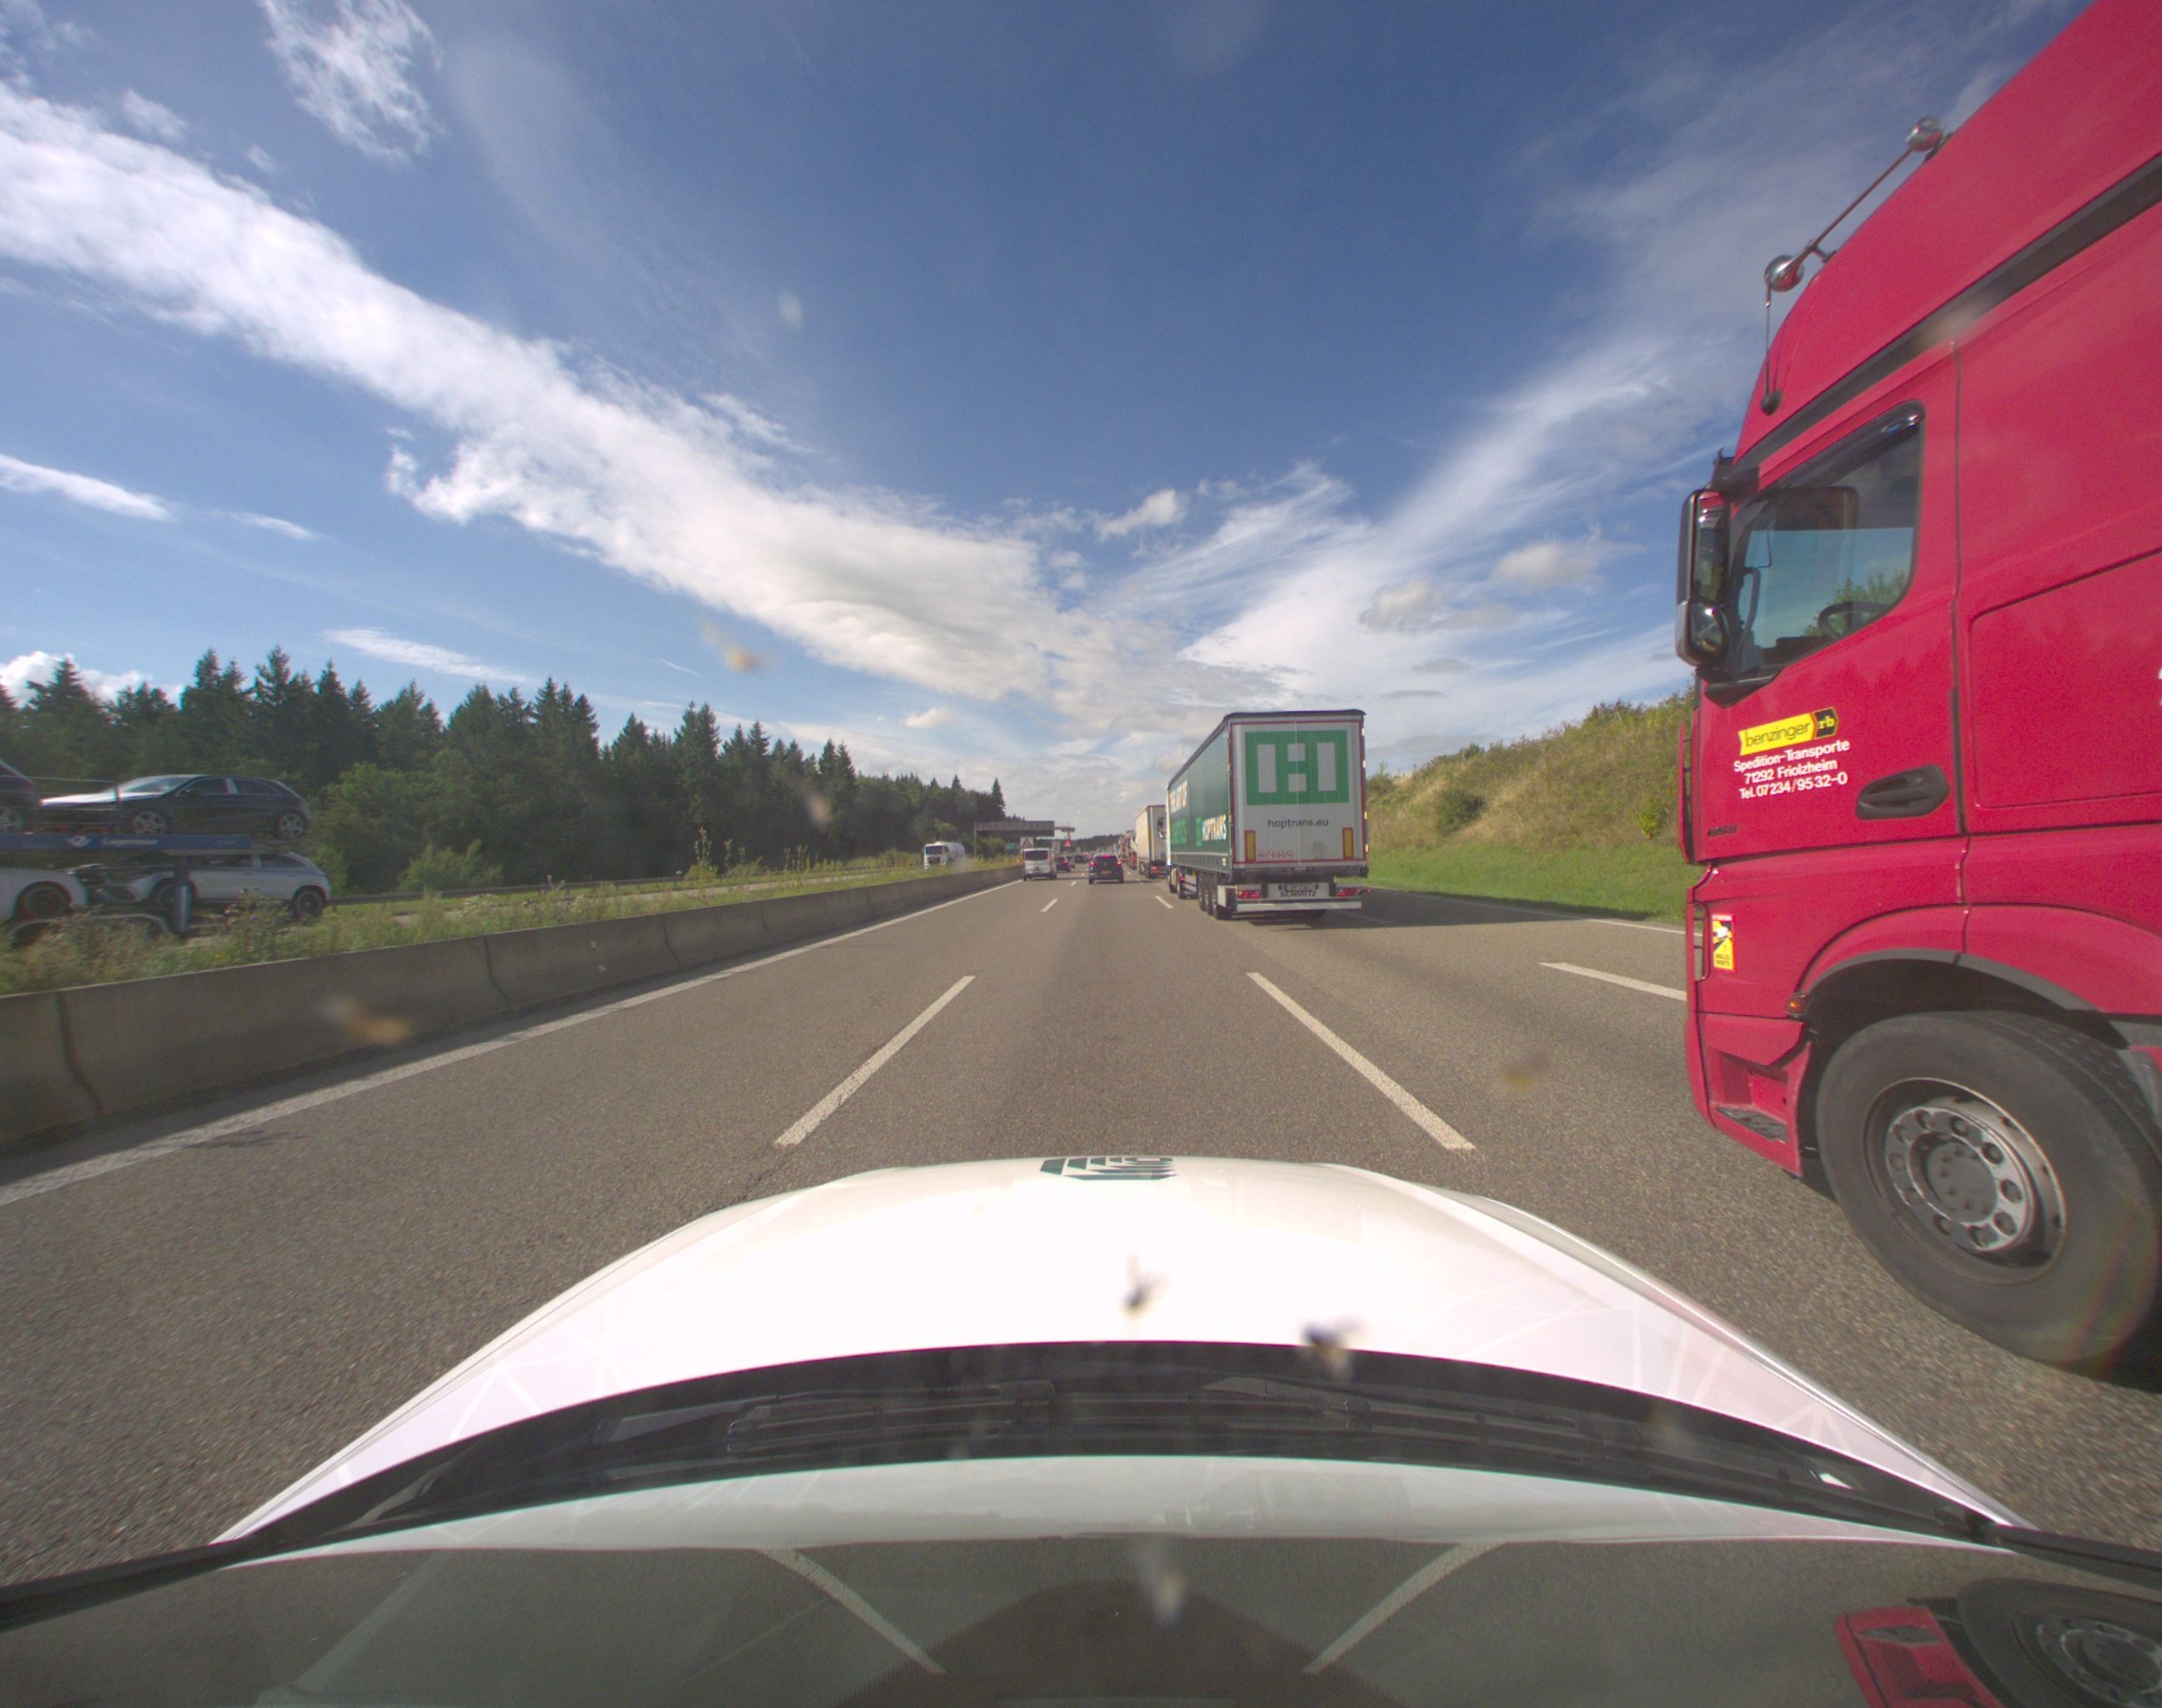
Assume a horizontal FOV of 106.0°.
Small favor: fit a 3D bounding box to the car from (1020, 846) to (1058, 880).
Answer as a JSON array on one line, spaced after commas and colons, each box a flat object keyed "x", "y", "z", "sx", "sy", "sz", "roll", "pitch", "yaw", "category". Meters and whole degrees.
[{"x": -2.575, "y": 0.553, "z": 51.516, "sx": 1.925, "sy": 1.979, "sz": 5.100, "roll": 2, "pitch": 0, "yaw": 2, "category": "car"}]

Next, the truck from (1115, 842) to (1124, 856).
[{"x": 8.154, "y": -1.012, "z": 172.691, "sx": 1.986, "sy": 2.932, "sz": 4.984, "roll": 2, "pitch": 0, "yaw": 2, "category": "truck"}]

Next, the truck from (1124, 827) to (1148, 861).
[{"x": 6.975, "y": -1.235, "z": 104.587, "sx": 2.774, "sy": 4.247, "sz": 6.464, "roll": -2, "pitch": 0, "yaw": 3, "category": "truck"}]

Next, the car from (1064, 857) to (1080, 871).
[{"x": -0.928, "y": 1.037, "z": 87.891, "sx": 1.494, "sy": 1.396, "sz": 3.477, "roll": 2, "pitch": 0, "yaw": 2, "category": "car"}]

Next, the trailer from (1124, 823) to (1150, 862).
[{"x": 6.658, "y": -1.286, "z": 98.061, "sx": 2.791, "sy": 4.244, "sz": 11.063, "roll": -2, "pitch": 0, "yaw": 3, "category": "trailer"}]

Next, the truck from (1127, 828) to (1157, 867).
[{"x": 5.964, "y": -0.629, "z": 80.217, "sx": 2.524, "sy": 3.584, "sz": 6.732, "roll": -2, "pitch": 0, "yaw": 2, "category": "truck"}]

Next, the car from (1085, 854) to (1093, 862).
[{"x": 1.388, "y": 0.699, "z": 142.732, "sx": 1.429, "sy": 1.310, "sz": 3.534, "roll": 2, "pitch": 0, "yaw": 1, "category": "car"}]

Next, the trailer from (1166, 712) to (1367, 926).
[{"x": 4.089, "y": -0.611, "z": 21.618, "sx": 2.651, "sy": 3.869, "sz": 13.400, "roll": -1, "pitch": 0, "yaw": 2, "category": "trailer"}]

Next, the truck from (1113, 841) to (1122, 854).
[{"x": 8.938, "y": -1.586, "z": 199.982, "sx": 1.986, "sy": 3.052, "sz": 4.984, "roll": 2, "pitch": 0, "yaw": 2, "category": "truck"}]

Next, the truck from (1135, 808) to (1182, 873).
[{"x": 5.188, "y": -0.849, "z": 55.753, "sx": 2.698, "sy": 4.059, "sz": 6.364, "roll": -2, "pitch": 0, "yaw": 2, "category": "truck"}]

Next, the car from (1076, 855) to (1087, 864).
[{"x": 0.090, "y": 0.886, "z": 124.398, "sx": 1.429, "sy": 1.310, "sz": 3.534, "roll": 2, "pitch": 0, "yaw": 1, "category": "car"}]

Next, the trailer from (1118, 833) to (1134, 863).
[{"x": 6.744, "y": -0.857, "z": 122.602, "sx": 2.141, "sy": 4.259, "sz": 8.445, "roll": -1, "pitch": 0, "yaw": 2, "category": "trailer"}]

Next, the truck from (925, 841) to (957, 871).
[{"x": -15.936, "y": 0.174, "z": 93.176, "sx": 2.308, "sy": 3.273, "sz": 6.109, "roll": -1, "pitch": 0, "yaw": 3, "category": "truck"}]

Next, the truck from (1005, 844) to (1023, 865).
[{"x": -14.292, "y": 0.059, "z": 175.152, "sx": 2.701, "sy": 4.244, "sz": 10.346, "roll": -2, "pitch": 0, "yaw": 1, "category": "truck"}]

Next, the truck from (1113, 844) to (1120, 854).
[{"x": 10.662, "y": -1.464, "z": 243.827, "sx": 1.986, "sy": 3.052, "sz": 4.984, "roll": 2, "pitch": 0, "yaw": 2, "category": "truck"}]

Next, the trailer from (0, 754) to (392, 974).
[{"x": -18.597, "y": 0.209, "z": 15.664, "sx": 2.788, "sy": 3.528, "sz": 8.958, "roll": -2, "pitch": 0, "yaw": 2, "category": "trailer"}]

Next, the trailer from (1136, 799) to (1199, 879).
[{"x": 4.960, "y": -0.817, "z": 48.958, "sx": 2.692, "sy": 4.081, "sz": 12.950, "roll": -2, "pitch": 0, "yaw": 2, "category": "trailer"}]

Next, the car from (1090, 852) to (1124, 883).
[{"x": 1.361, "y": 0.679, "z": 42.523, "sx": 1.690, "sy": 1.483, "sz": 4.161, "roll": -1, "pitch": 0, "yaw": 2, "category": "car"}]

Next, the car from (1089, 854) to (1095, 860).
[{"x": 2.514, "y": 0.597, "z": 186.747, "sx": 1.356, "sy": 1.301, "sz": 3.085, "roll": 2, "pitch": 0, "yaw": 2, "category": "car"}]

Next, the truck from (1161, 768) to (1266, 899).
[{"x": 4.315, "y": -0.590, "z": 27.937, "sx": 2.637, "sy": 3.869, "sz": 6.999, "roll": -1, "pitch": 0, "yaw": 2, "category": "truck"}]

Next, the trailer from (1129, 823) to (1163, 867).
[{"x": 5.729, "y": -0.715, "z": 73.597, "sx": 2.531, "sy": 3.654, "sz": 10.631, "roll": -2, "pitch": 0, "yaw": 2, "category": "trailer"}]

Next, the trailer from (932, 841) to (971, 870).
[{"x": -15.609, "y": 0.154, "z": 99.161, "sx": 2.311, "sy": 3.284, "sz": 10.886, "roll": -1, "pitch": 0, "yaw": 4, "category": "trailer"}]

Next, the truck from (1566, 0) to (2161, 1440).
[{"x": 3.893, "y": -0.611, "z": 1.369, "sx": 2.791, "sy": 3.939, "sz": 5.827, "roll": 0, "pitch": 0, "yaw": 2, "category": "truck"}]

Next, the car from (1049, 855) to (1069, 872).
[{"x": -1.868, "y": 0.801, "z": 69.518, "sx": 1.494, "sy": 1.396, "sz": 3.477, "roll": -1, "pitch": 0, "yaw": 2, "category": "car"}]
